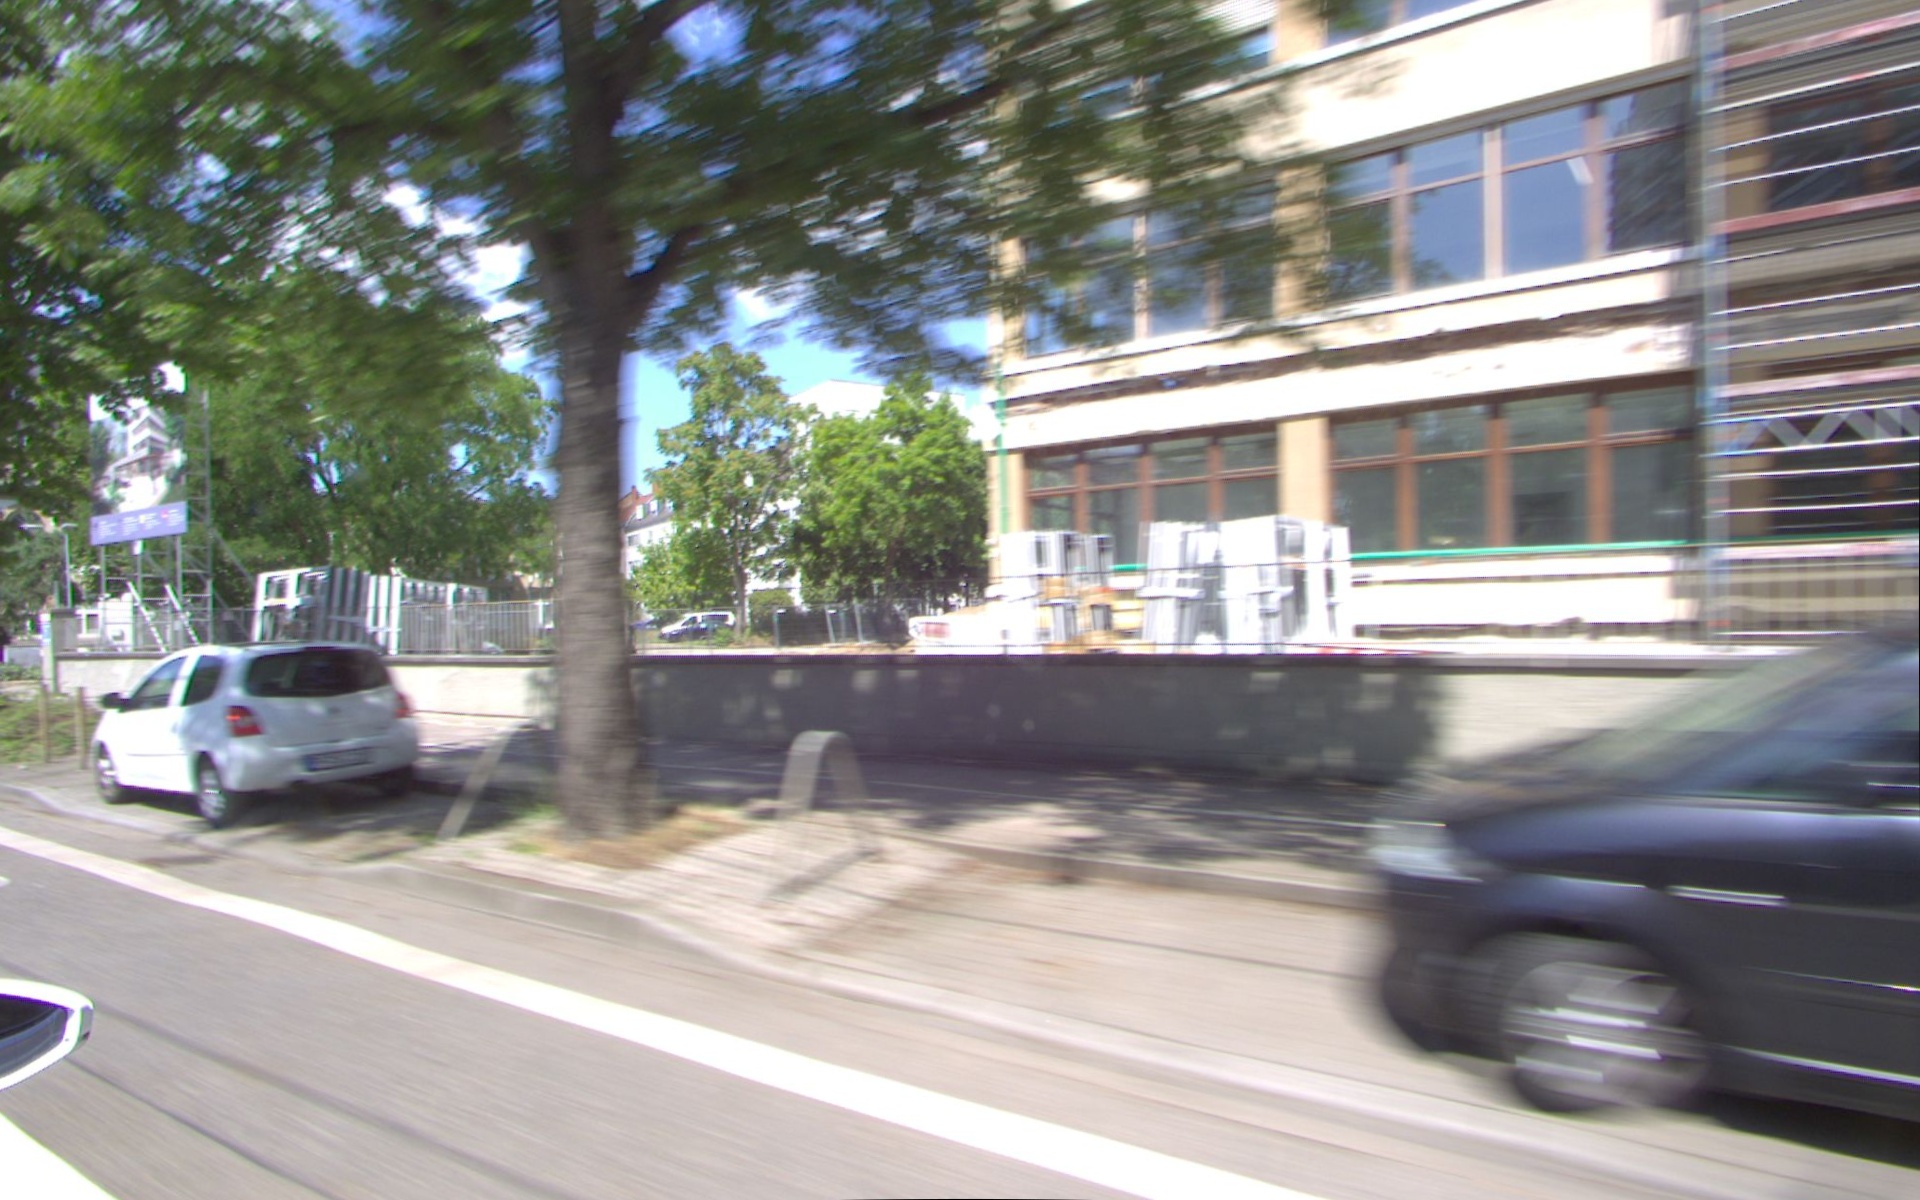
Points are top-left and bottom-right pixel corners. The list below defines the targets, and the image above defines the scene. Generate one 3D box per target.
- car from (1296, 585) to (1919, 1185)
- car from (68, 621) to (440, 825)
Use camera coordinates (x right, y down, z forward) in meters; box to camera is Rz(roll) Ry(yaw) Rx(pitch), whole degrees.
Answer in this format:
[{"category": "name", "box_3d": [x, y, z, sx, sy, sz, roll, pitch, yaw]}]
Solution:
[{"category": "car", "box_3d": [3.228, 0.739, 3.093, 3.890, 1.554, 1.641, -1, -1, 32]}, {"category": "car", "box_3d": [-6.717, 0.994, 9.428, 3.733, 1.554, 1.640, -1, -1, 34]}]
